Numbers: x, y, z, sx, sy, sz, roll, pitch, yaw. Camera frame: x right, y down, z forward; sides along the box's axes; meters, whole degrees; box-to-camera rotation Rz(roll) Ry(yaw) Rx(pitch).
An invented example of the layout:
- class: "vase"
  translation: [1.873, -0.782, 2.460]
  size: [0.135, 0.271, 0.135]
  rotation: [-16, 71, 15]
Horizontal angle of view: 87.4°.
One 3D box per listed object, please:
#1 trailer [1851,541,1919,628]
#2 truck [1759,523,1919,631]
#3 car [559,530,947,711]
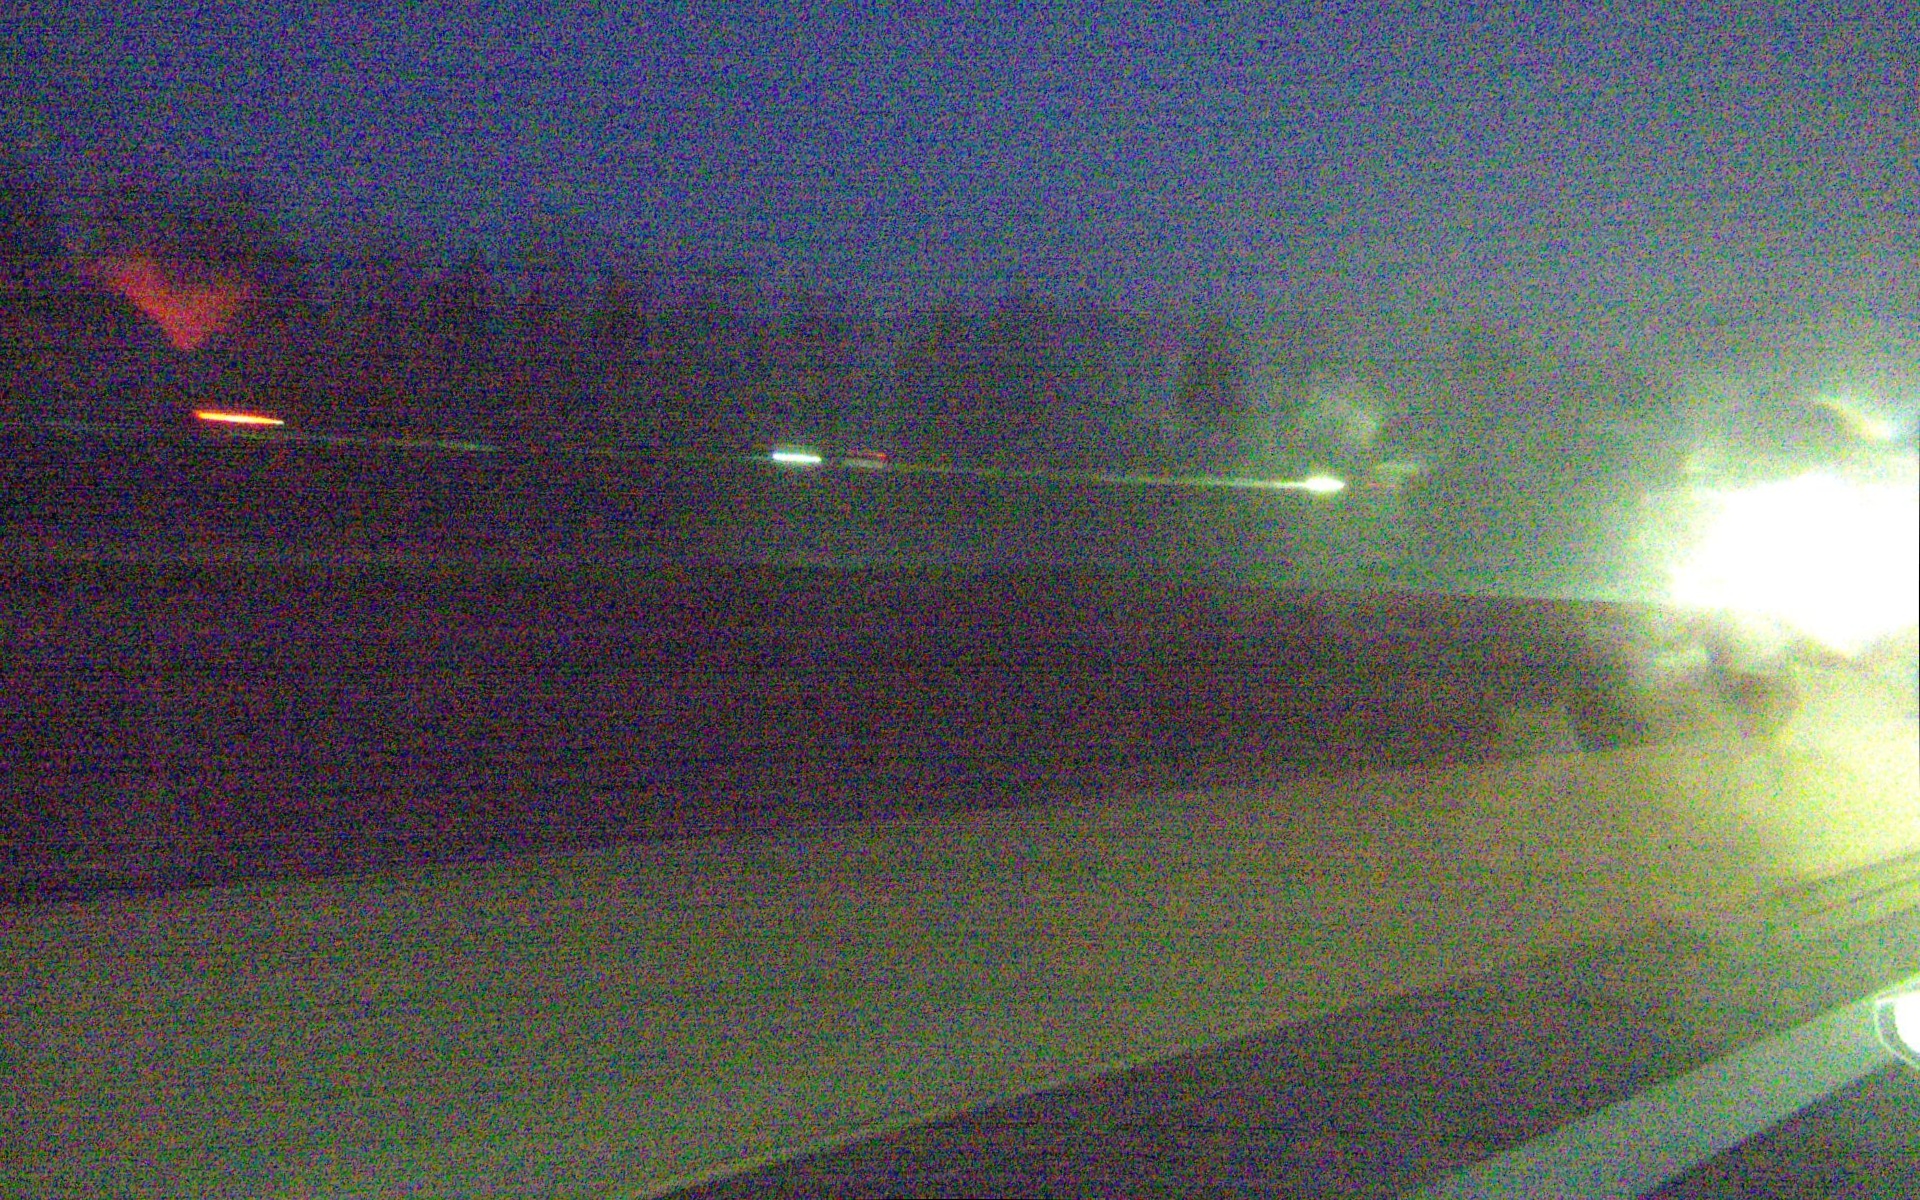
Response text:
- class: "trailer"
  translation: [46.468, -0.738, 48.210]
  size: [9.398, 3.800, 2.910]
  rotation: [0, 5, -33]
- class: "truck"
  translation: [38.081, -0.990, 42.736]
  size: [10.536, 4.092, 2.930]
  rotation: [0, 5, -33]
- class: "car"
  translation: [-2.364, 0.141, 11.578]
  size: [3.954, 1.707, 1.983]
  rotation: [0, 5, -31]
